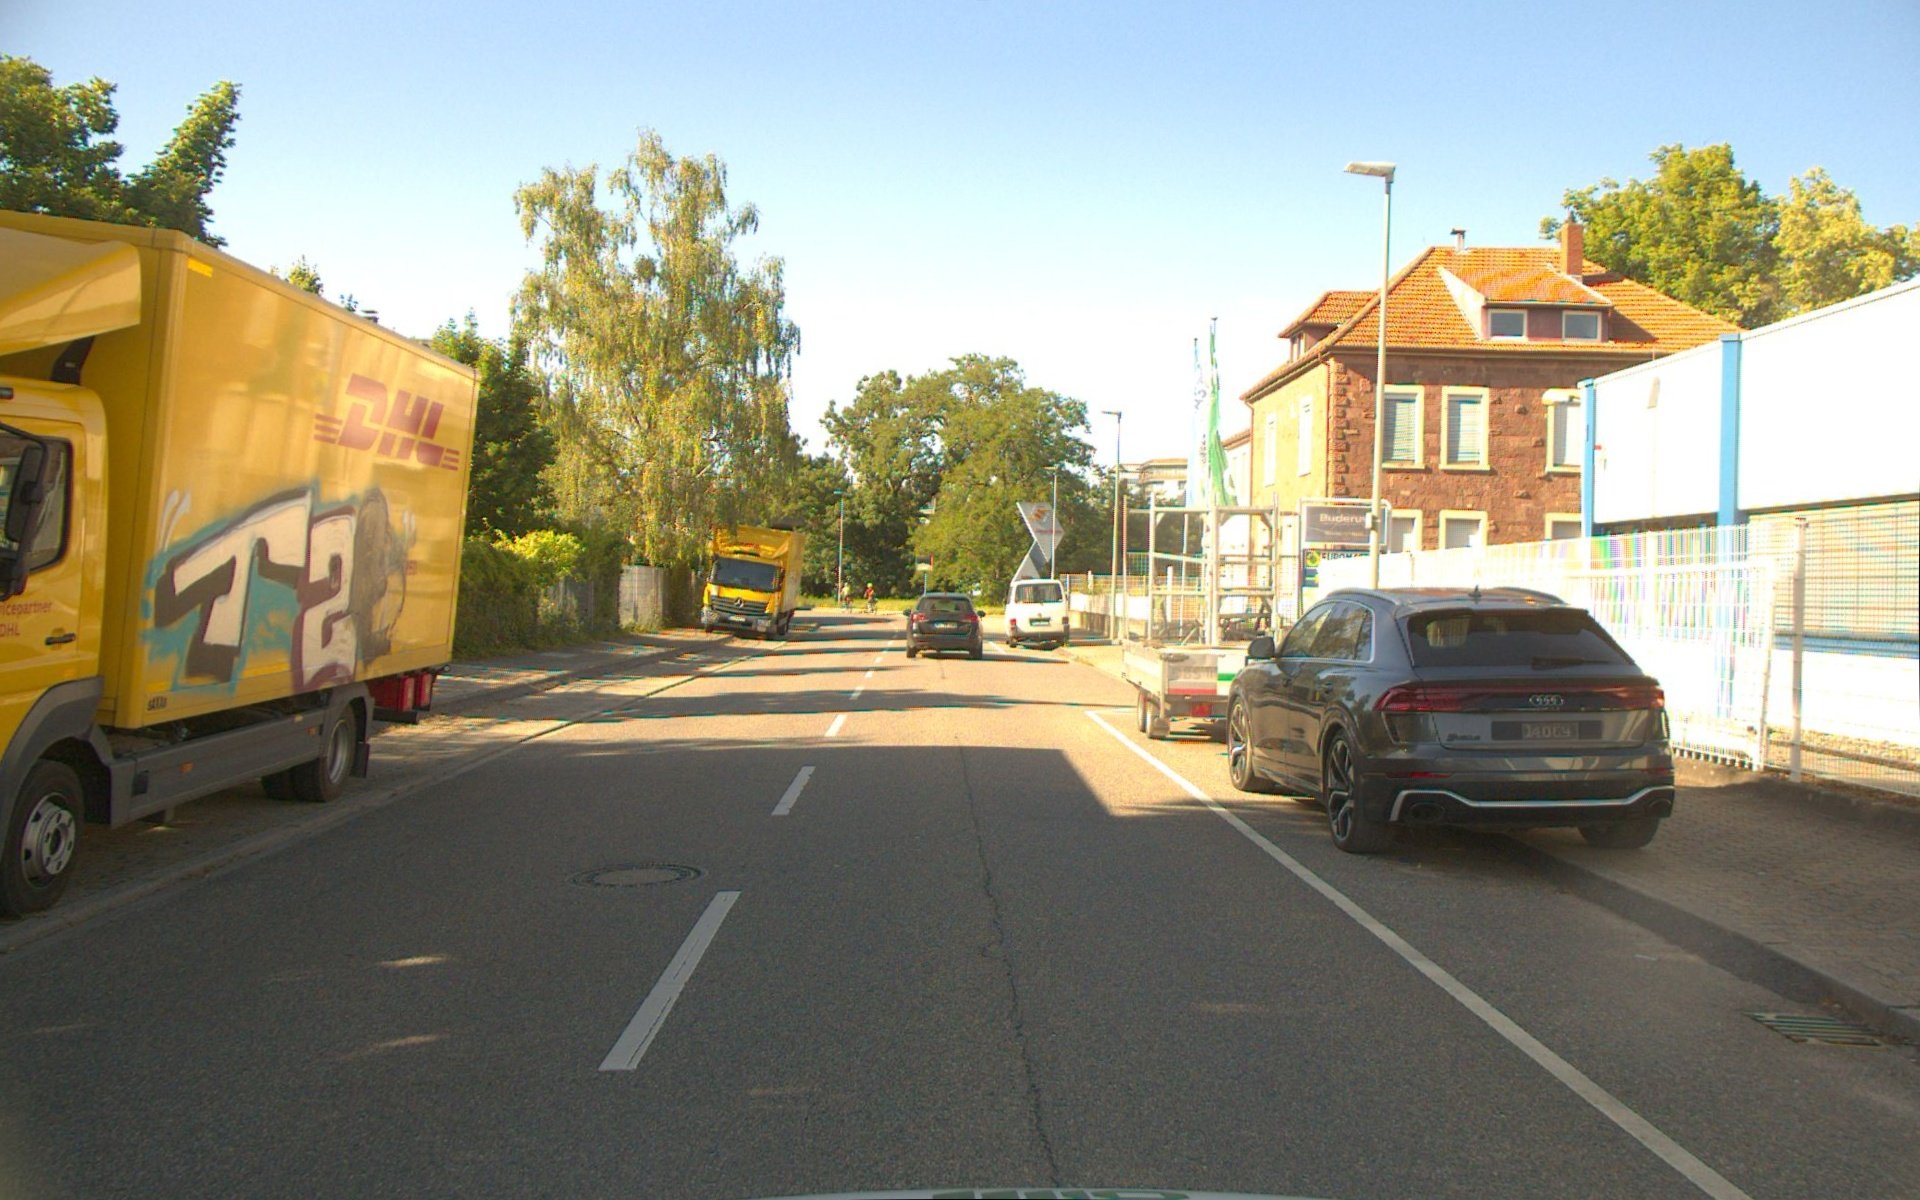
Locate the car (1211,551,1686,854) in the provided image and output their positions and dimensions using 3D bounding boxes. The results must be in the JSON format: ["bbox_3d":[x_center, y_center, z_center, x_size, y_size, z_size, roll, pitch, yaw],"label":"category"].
[{"bbox_3d":[3.236,0.607,12.098,1.954,1.696,4.730,3,0,-1],"label":"car"}]

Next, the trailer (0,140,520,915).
[{"bbox_3d":[-5.507,-0.367,11.514,2.931,3.503,8.158,1,0,-2],"label":"trailer"}]

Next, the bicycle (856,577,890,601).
[{"bbox_3d":[-4.977,-0.659,94.317,0.797,1.290,2.230,3,0,-35],"label":"bicycle"}]

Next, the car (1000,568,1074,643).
[{"bbox_3d":[2.229,0.157,49.181,1.836,2.049,5.159,3,0,-1],"label":"car"}]

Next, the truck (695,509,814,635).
[{"bbox_3d":[-6.686,-0.986,55.087,2.580,3.564,8.656,7,1,-1],"label":"truck"}]

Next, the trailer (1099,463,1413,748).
[{"bbox_3d":[3.106,0.042,18.825,2.410,2.719,5.700,1,0,-1],"label":"trailer"}]

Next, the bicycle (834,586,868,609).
[{"bbox_3d":[-6.450,-0.167,97.568,0.798,1.242,2.226,3,0,-40],"label":"bicycle"}]

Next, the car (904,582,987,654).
[{"bbox_3d":[-0.325,0.377,38.432,1.809,1.556,4.000,0,1,0],"label":"car"}]
